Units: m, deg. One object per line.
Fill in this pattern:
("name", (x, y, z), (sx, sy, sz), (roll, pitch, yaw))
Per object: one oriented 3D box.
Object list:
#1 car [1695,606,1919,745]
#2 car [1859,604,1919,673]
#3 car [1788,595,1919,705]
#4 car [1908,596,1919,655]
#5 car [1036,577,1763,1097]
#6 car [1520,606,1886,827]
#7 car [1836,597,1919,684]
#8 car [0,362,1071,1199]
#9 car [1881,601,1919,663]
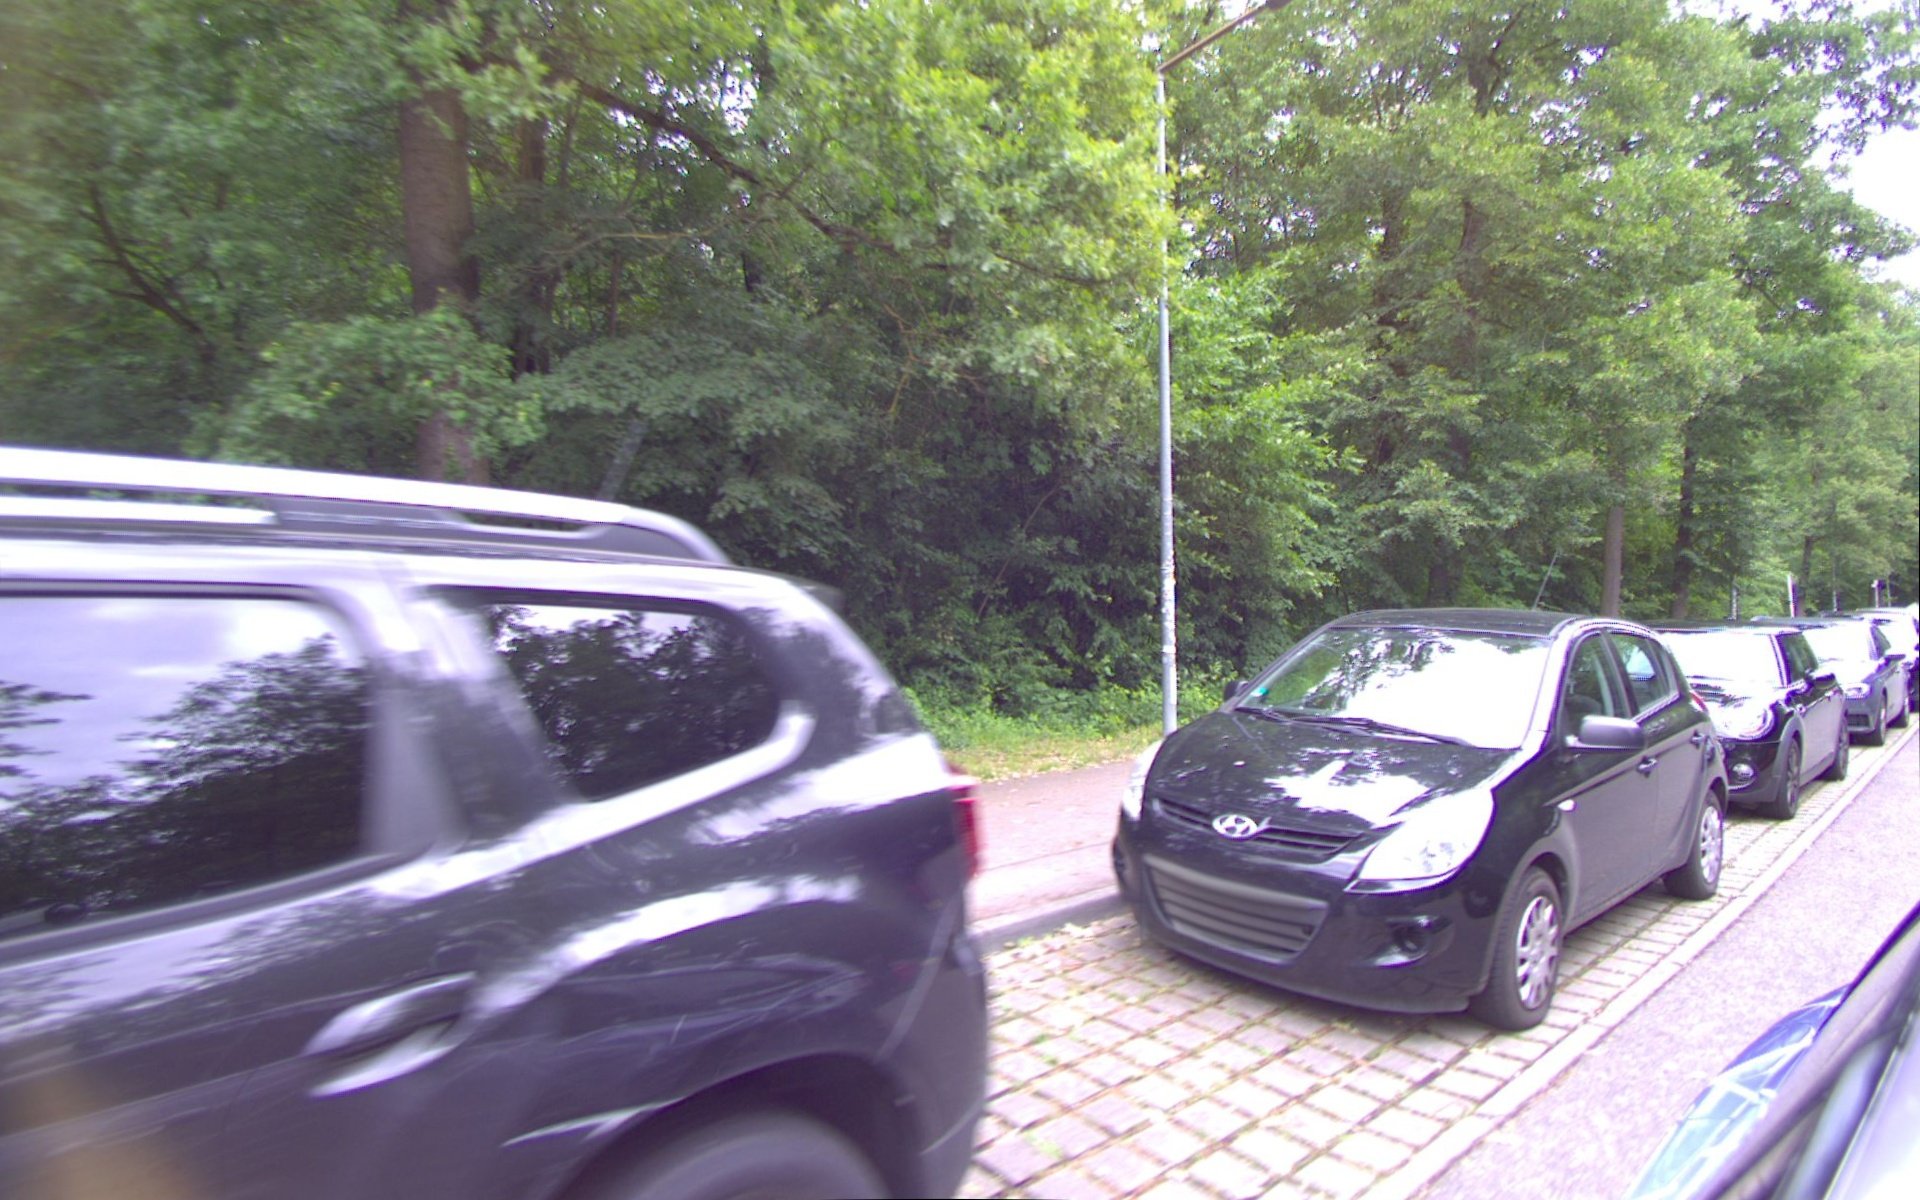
("car", (10.921, 0.805, 12.818), (4.424, 1.450, 1.738), (0, 0, -42))
("car", (21.611, 0.808, 22.792), (4.086, 1.443, 1.737), (0, 0, -44))
("car", (15.144, 0.729, 16.668), (4.307, 1.609, 1.738), (0, 0, -43))
("car", (29.479, 0.718, 30.021), (4.988, 1.664, 1.737), (0, 0, -44))
("car", (2.438, 0.693, 5.007), (4.161, 1.514, 1.738), (0, 0, -42))
("car", (6.691, 0.792, 8.912), (4.424, 1.450, 1.738), (0, 0, -42))
("car", (18.631, 0.739, 19.952), (3.942, 1.588, 1.737), (0, 0, -44))
("car", (-1.949, 0.602, 1.195), (4.300, 1.654, 1.738), (0, 0, -42))
("car", (25.075, 0.781, 26.048), (4.529, 1.493, 1.737), (0, 0, -44))
